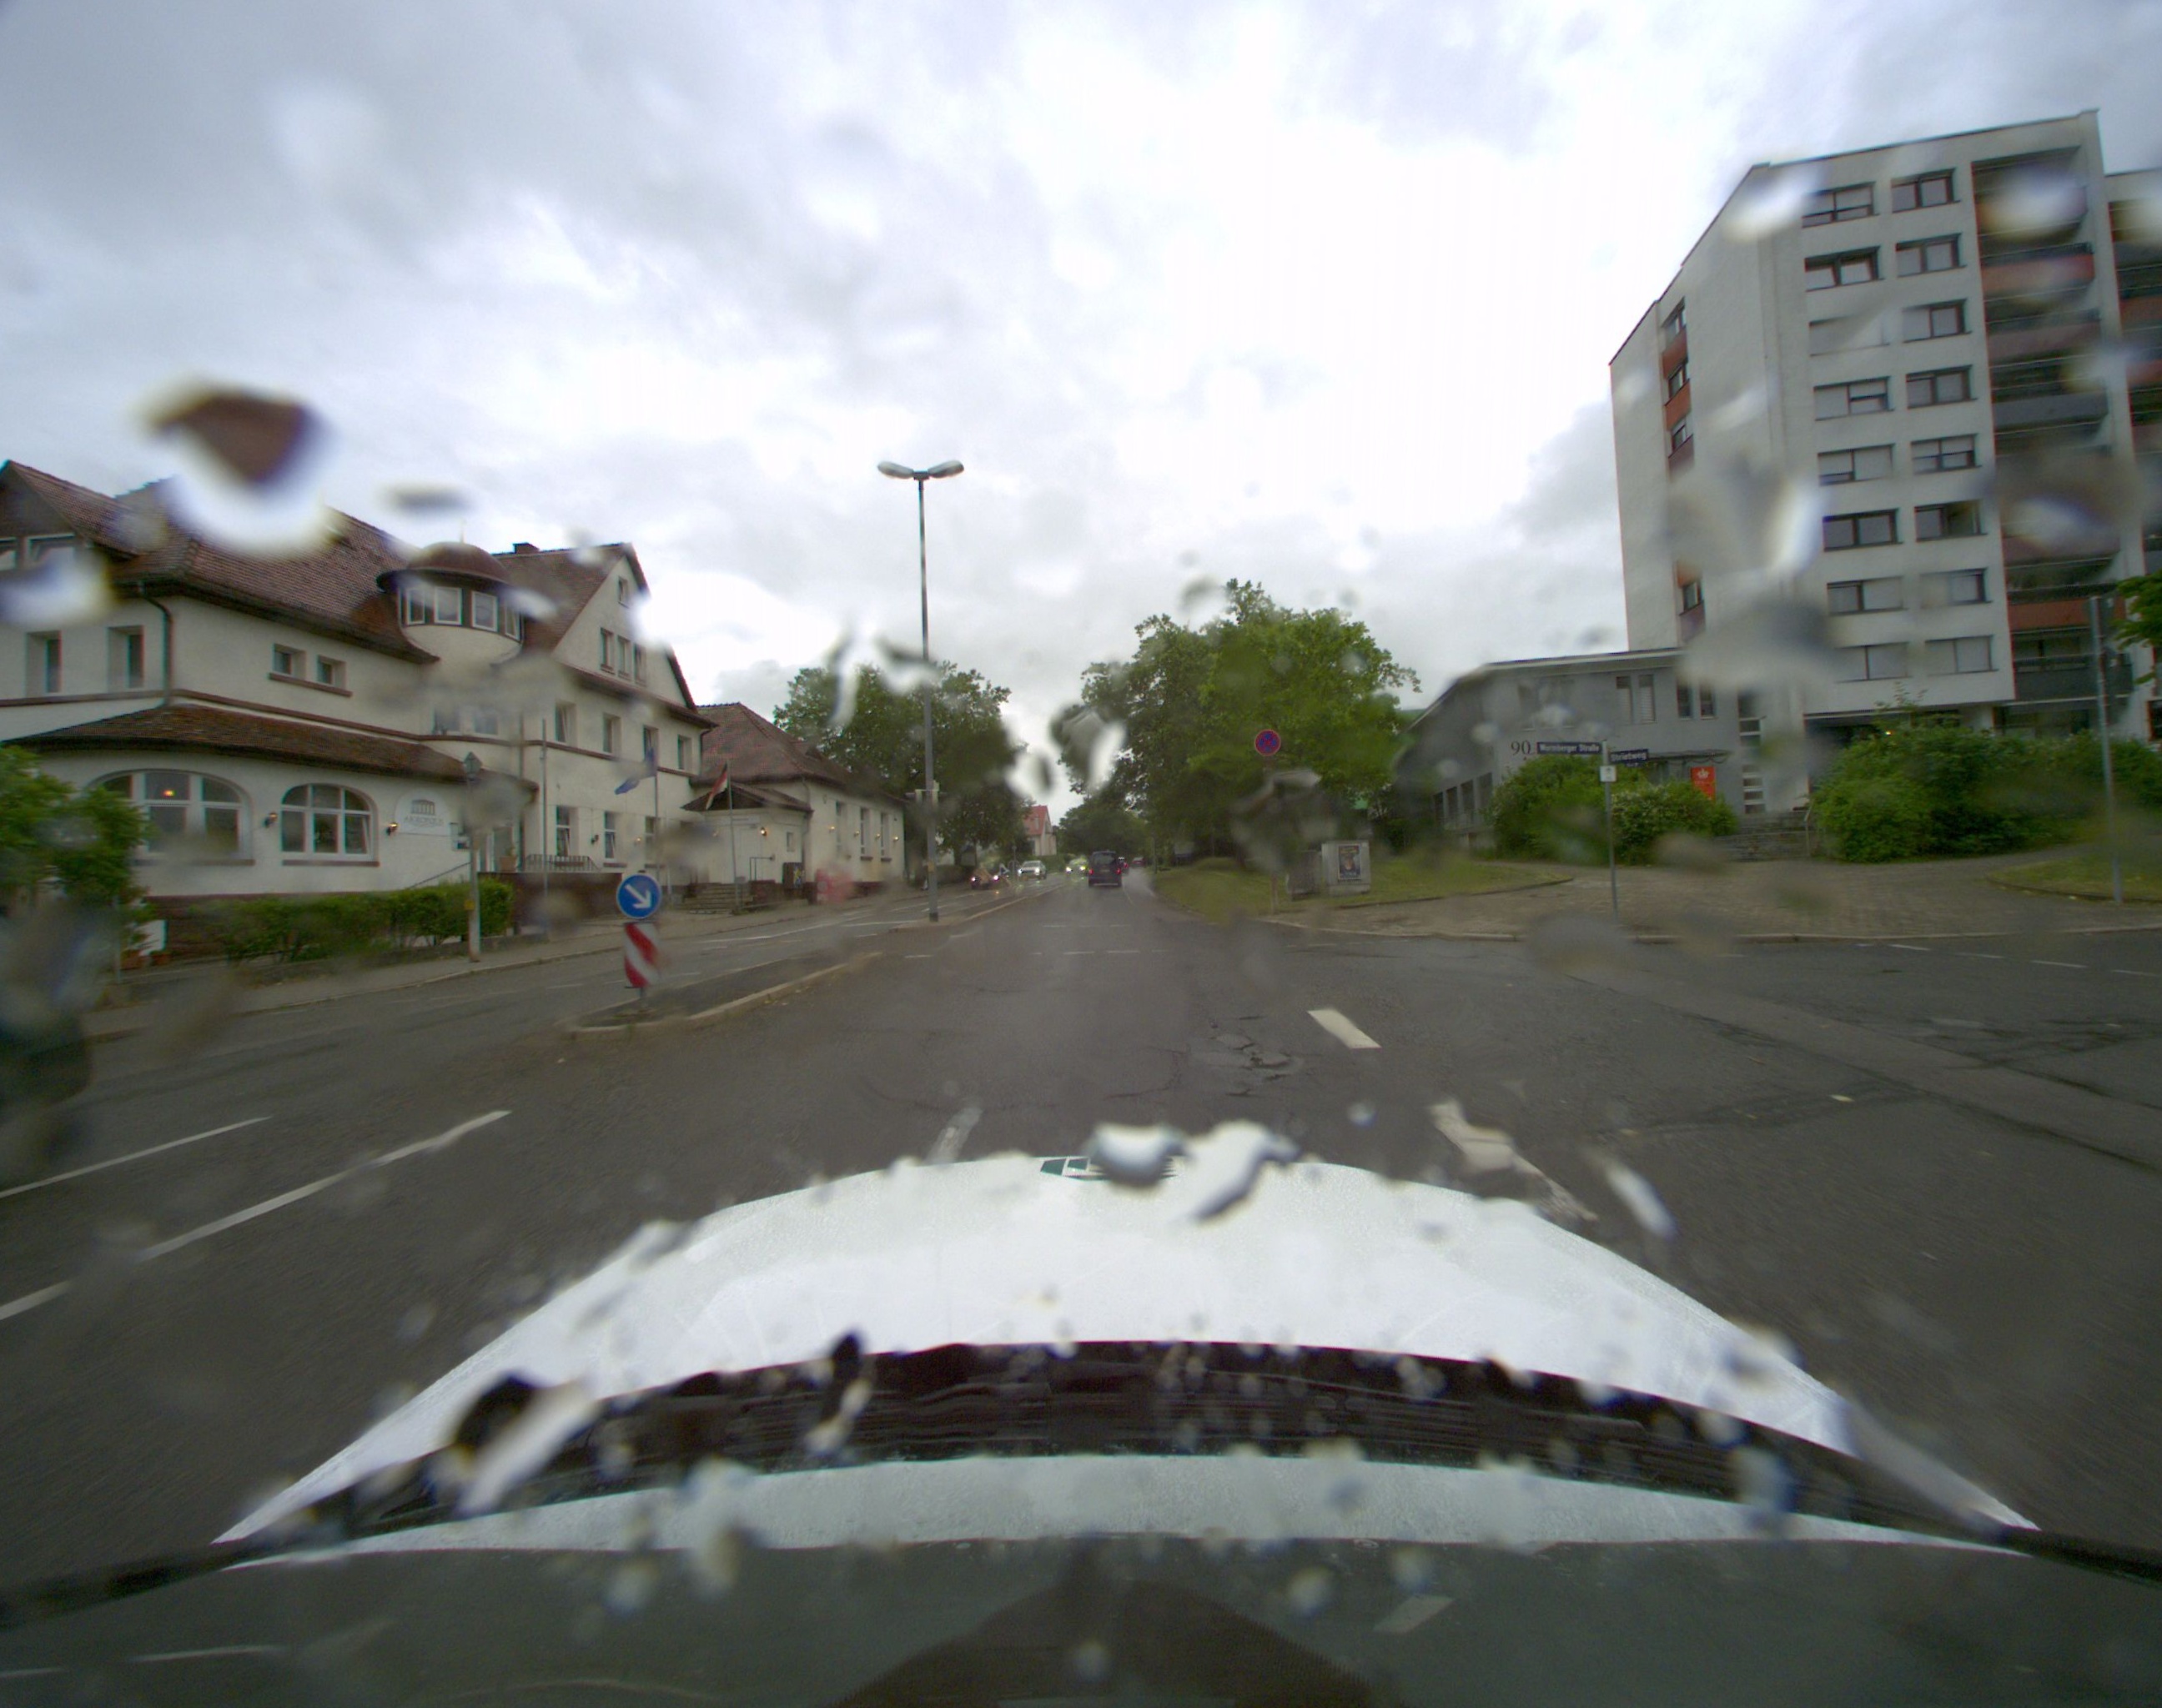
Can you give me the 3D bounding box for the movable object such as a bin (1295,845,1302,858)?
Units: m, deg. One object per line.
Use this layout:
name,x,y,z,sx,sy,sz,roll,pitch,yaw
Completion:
movable object such as a bin,14.818,-0.173,55.516,0.446,0.906,0.465,-1,-1,21

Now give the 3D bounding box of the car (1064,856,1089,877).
car,-0.333,1.020,68.261,1.740,1.671,3.710,-2,0,3

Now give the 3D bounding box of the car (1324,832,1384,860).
car,19.598,-0.545,58.667,3.958,1.931,2.008,-1,-1,14

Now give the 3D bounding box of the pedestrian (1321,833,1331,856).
pedestrian,17.232,-0.650,57.200,0.596,1.617,0.527,-1,-1,12

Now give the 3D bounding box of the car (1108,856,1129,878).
car,3.166,1.088,68.544,1.698,1.809,3.686,-1,-1,2

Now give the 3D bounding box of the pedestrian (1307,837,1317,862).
pedestrian,16.861,-0.330,59.481,0.555,1.763,0.728,-1,-1,1

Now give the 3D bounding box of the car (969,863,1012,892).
car,-5.330,1.363,48.425,1.785,1.527,4.213,-2,0,3

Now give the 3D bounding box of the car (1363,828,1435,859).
car,19.979,-0.626,51.301,3.959,1.816,2.007,-1,-1,13

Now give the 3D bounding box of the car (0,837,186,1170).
car,-5.917,0.739,2.386,1.897,1.577,4.491,-2,0,-7

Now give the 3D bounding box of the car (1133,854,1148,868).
car,8.002,0.957,109.702,1.985,1.882,4.003,-1,-1,3

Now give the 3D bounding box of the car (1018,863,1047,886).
car,-3.864,1.592,65.663,1.822,1.671,4.055,-2,0,3

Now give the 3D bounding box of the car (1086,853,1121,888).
car,1.235,0.895,43.715,1.805,1.809,3.758,-1,-1,2

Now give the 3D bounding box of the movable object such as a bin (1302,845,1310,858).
movable object such as a bin,15.269,-0.181,55.339,0.446,0.906,0.465,-1,-1,21

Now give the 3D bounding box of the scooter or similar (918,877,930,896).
scooter or similar,-9.062,1.866,47.132,0.388,1.064,1.411,-1,-1,1
